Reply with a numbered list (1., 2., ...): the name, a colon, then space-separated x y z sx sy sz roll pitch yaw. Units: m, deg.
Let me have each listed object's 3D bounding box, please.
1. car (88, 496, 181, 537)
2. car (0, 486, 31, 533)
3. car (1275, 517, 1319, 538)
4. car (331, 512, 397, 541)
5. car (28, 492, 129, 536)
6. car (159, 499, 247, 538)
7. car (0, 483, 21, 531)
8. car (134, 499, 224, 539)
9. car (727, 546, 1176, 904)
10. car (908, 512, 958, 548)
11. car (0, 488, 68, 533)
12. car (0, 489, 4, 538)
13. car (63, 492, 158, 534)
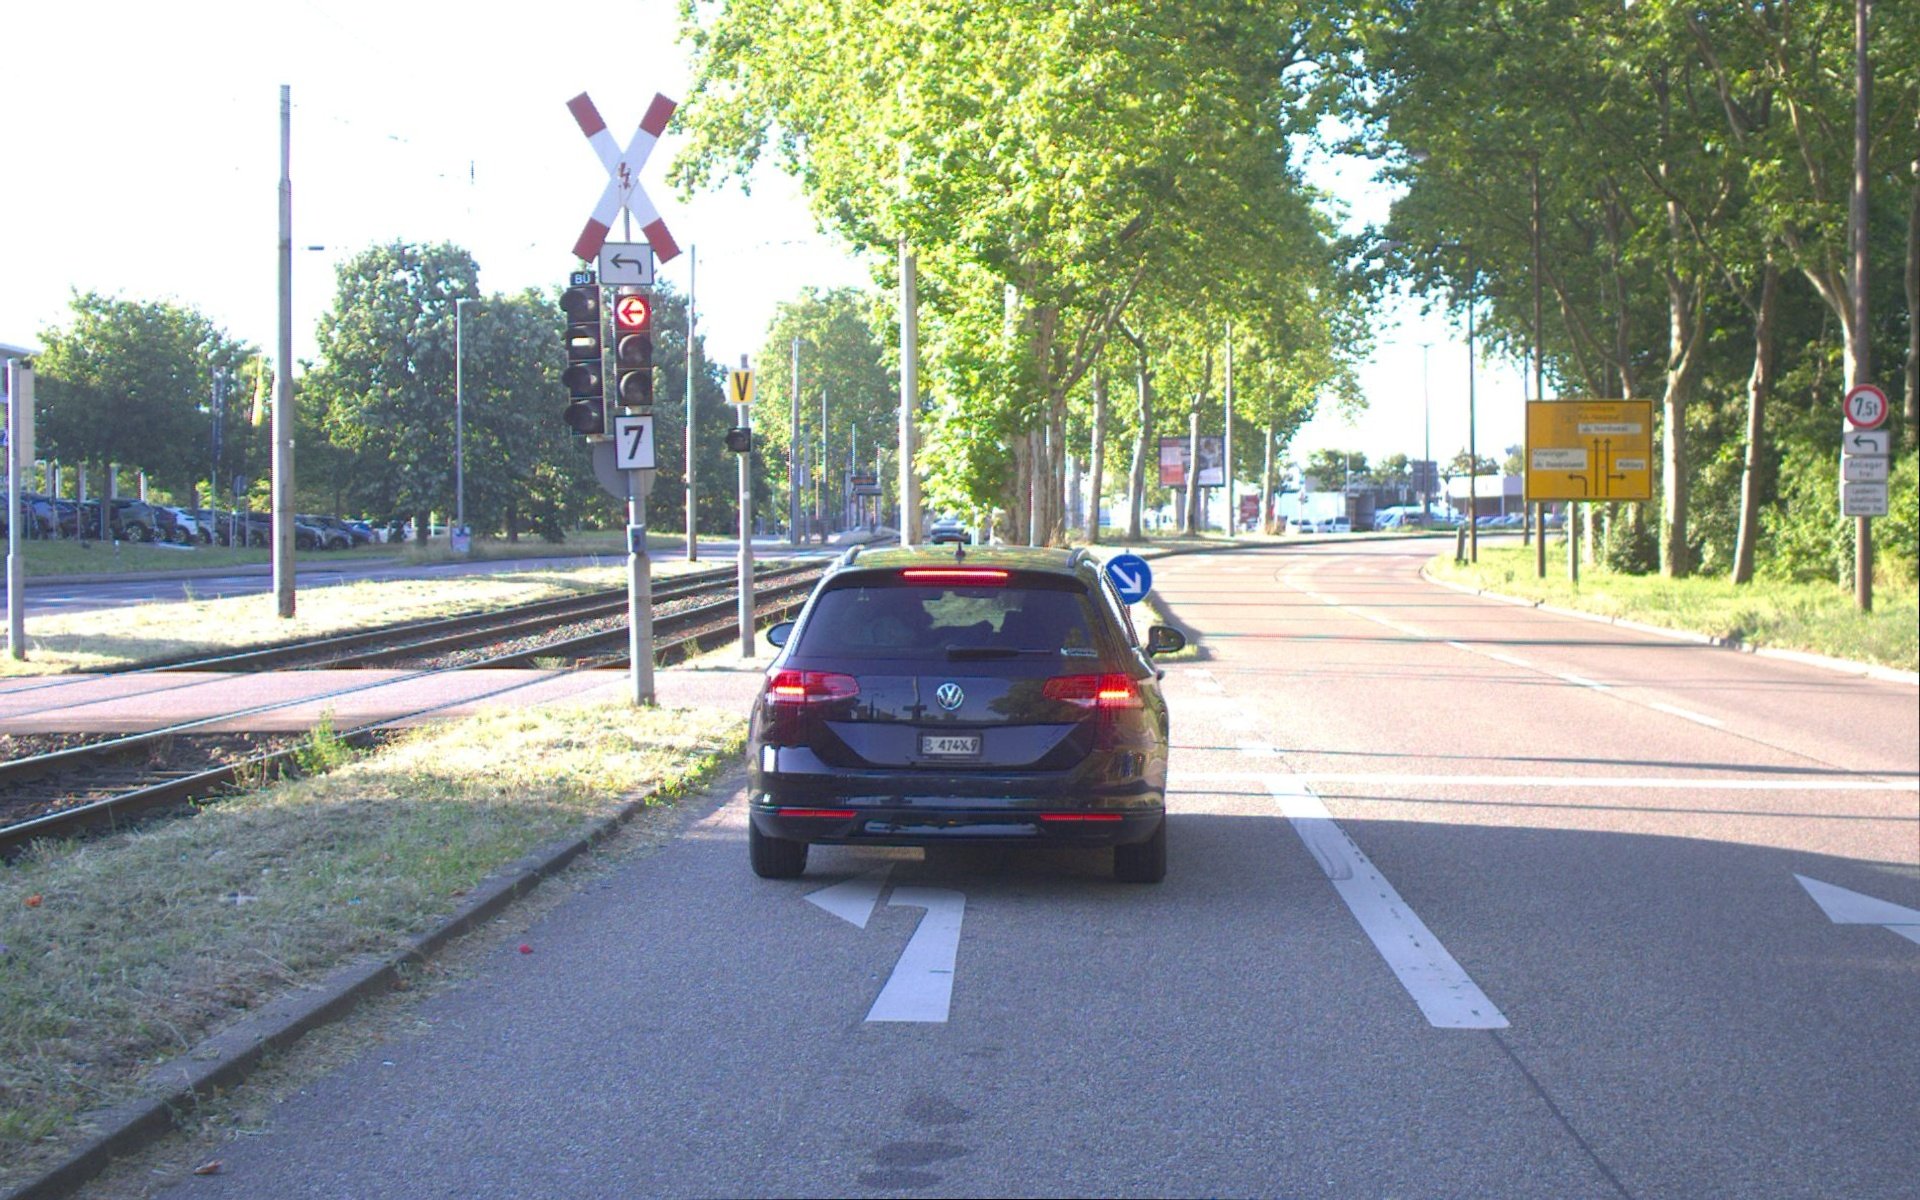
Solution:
1. car: -31.016 -3.142 129.183 3.142 1.485 1.455 1 1 -1
2. car: -31.692 -2.914 110.722 3.142 1.485 1.455 1 1 -1
3. car: 24.056 -5.186 245.508 1.451 1.485 3.152 0 1 -36
4. car: -30.795 -3.803 177.668 3.142 1.485 1.455 1 1 -1
5. car: -30.760 -2.990 120.024 3.142 1.485 1.455 1 1 -1
6. car: -29.846 -3.211 135.607 3.142 1.485 1.455 1 1 -1
7. car: -31.367 -2.932 108.355 3.142 1.485 1.455 1 1 -1
8. car: -30.058 -3.119 132.324 3.142 1.485 1.455 1 1 -1
9. car: 0.065 0.469 15.618 1.792 1.398 3.688 1 1 3
10. car: -1.156 -3.011 147.901 1.451 1.485 3.151 1 1 14
11. car: -31.876 -3.015 116.106 3.142 1.485 1.455 1 1 -1
12. car: -30.730 -2.629 104.086 3.142 1.485 1.455 1 1 -1
13. car: -31.083 -3.182 125.861 3.142 1.485 1.455 1 1 -1
